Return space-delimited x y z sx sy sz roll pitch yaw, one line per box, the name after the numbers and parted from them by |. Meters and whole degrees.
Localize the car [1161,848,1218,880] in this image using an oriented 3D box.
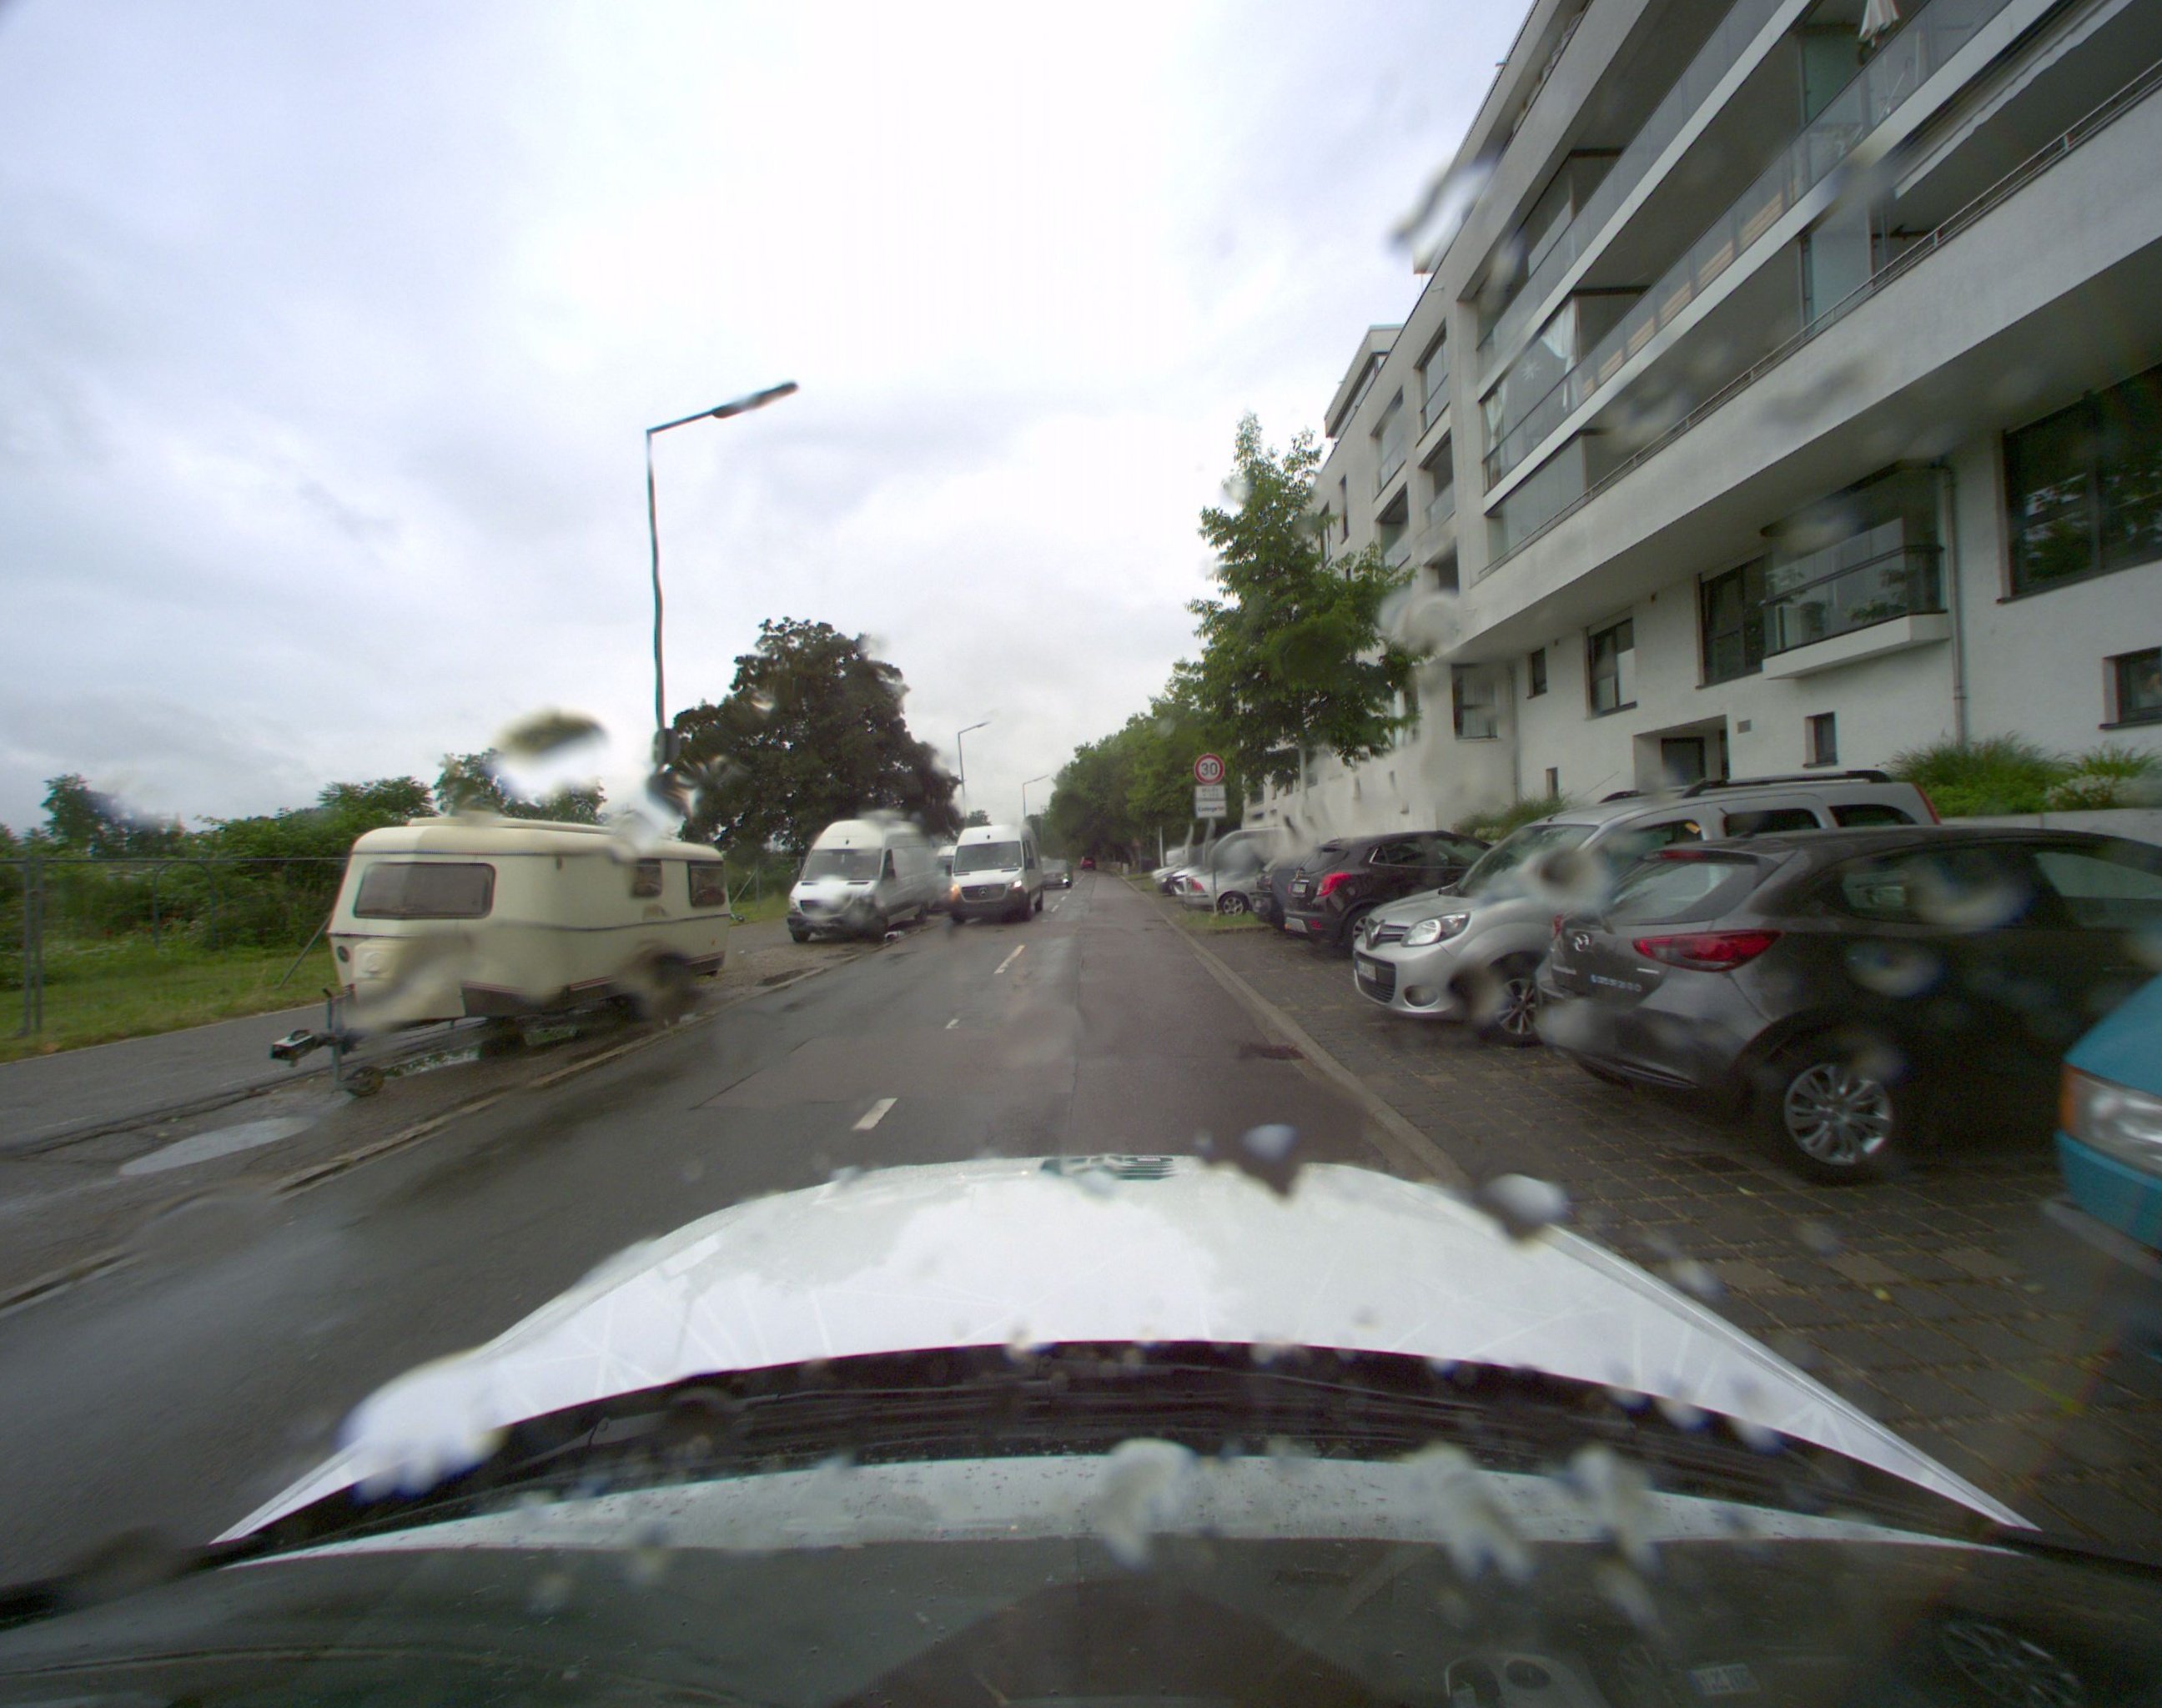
8.245 0.757 61.846 3.952 2.293 1.786 -1 -1 21 | car

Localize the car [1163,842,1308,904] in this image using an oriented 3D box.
4.978 0.604 26.730 4.373 1.776 2.005 -2 -1 0 | car

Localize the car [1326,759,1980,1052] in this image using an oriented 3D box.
4.353 0.381 6.728 4.078 1.894 1.727 -3 0 2 | car

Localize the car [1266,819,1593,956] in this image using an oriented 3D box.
4.853 0.429 11.702 3.875 1.681 1.861 -2 0 -5 | car

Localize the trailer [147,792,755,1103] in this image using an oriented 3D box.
-5.721 0.684 8.795 2.052 2.218 5.793 -1 0 0 | trailer

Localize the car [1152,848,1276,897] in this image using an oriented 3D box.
4.997 0.692 31.019 4.373 1.633 2.005 -2 -1 0 | car

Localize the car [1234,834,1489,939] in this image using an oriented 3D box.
4.908 0.541 14.618 3.875 1.600 1.861 -2 -1 -5 | car

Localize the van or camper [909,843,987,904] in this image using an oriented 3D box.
-5.737 0.806 36.110 2.181 2.462 6.379 -1 -1 2 | van or camper

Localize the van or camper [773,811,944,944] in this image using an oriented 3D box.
-5.315 0.527 20.962 1.986 2.762 7.901 -1 -1 2 | van or camper

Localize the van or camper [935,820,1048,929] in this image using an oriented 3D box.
-2.265 0.502 22.882 1.986 2.497 7.181 -3 0 2 | van or camper

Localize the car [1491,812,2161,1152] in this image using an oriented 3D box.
4.202 0.576 4.445 3.244 1.482 1.317 -2 0 -1 | car

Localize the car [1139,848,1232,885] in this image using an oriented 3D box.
4.969 0.596 39.049 4.086 1.575 1.864 -2 -1 -6 | car

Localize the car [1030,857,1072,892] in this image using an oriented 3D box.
-1.556 1.064 44.146 1.874 1.757 4.070 -2 0 2 | car

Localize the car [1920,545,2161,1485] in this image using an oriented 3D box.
4.611 0.267 1.327 4.605 2.019 1.857 -2 -1 -2 | car

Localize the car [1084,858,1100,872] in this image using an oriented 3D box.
1.411 1.401 105.885 1.748 1.706 4.004 -3 -1 4 | car
